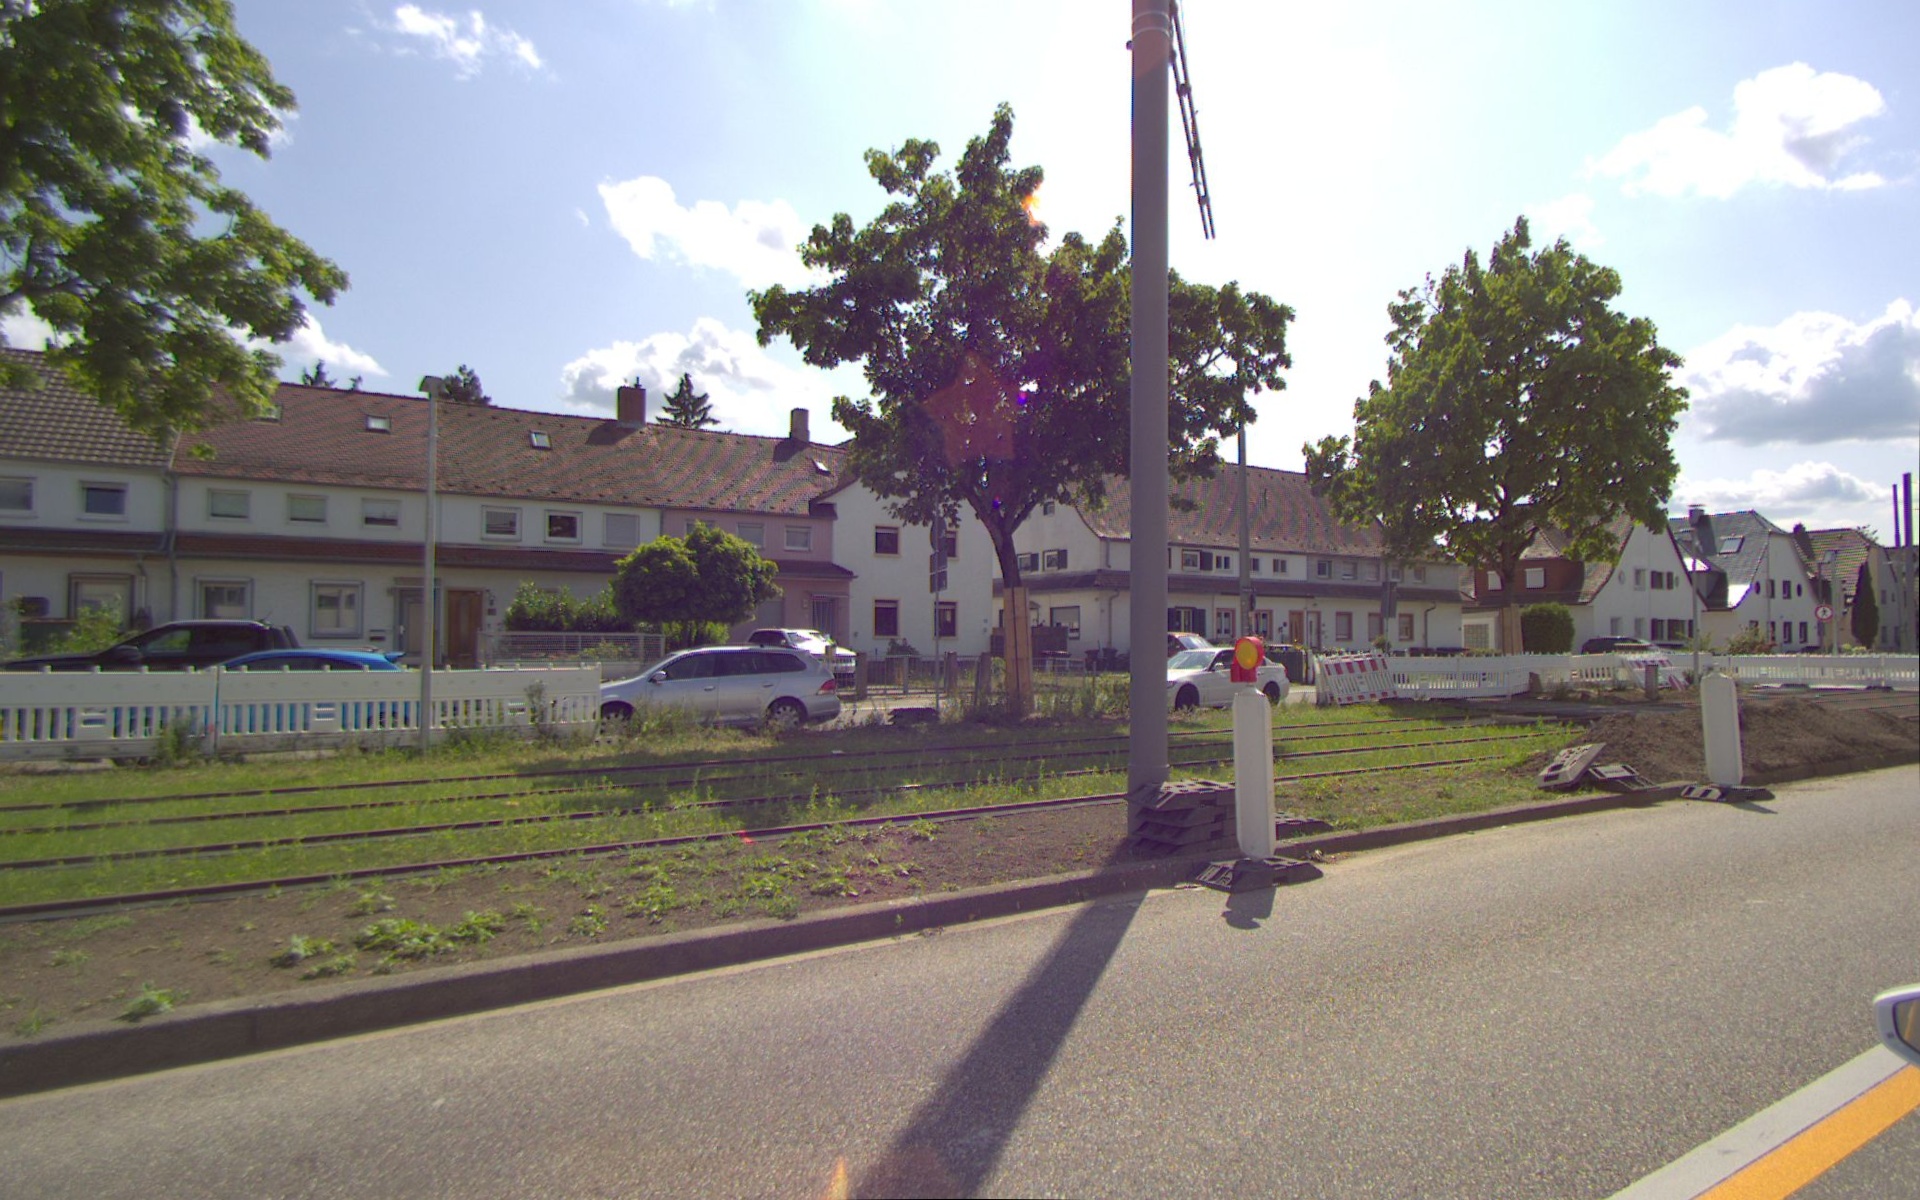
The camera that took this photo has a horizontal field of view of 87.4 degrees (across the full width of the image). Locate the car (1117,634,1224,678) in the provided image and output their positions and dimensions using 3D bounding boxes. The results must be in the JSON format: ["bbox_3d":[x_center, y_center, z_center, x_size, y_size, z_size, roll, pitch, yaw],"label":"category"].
[{"bbox_3d":[7.809,2.061,37.572,1.706,1.529,3.966,1,-3,-31],"label":"car"}]

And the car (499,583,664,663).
[{"bbox_3d":[-10.459,0.660,27.814,3.955,2.040,1.983,2,-1,-32],"label":"car"}]

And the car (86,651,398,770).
[{"bbox_3d":[-9.138,1.347,13.038,3.137,1.342,1.332,2,-3,-33],"label":"car"}]

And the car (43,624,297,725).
[{"bbox_3d":[-12.711,1.168,16.383,3.058,1.515,1.349,1,-3,-31],"label":"car"}]

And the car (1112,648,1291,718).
[{"bbox_3d":[5.383,1.766,22.143,4.212,1.394,1.530,2,-3,-37],"label":"car"}]

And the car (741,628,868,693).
[{"bbox_3d":[-4.815,1.793,30.627,1.785,1.708,4.369,2,-1,-40],"label":"car"}]

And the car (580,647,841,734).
[{"bbox_3d":[-3.863,1.347,15.731,3.705,1.192,1.495,1,-3,-31],"label":"car"}]
